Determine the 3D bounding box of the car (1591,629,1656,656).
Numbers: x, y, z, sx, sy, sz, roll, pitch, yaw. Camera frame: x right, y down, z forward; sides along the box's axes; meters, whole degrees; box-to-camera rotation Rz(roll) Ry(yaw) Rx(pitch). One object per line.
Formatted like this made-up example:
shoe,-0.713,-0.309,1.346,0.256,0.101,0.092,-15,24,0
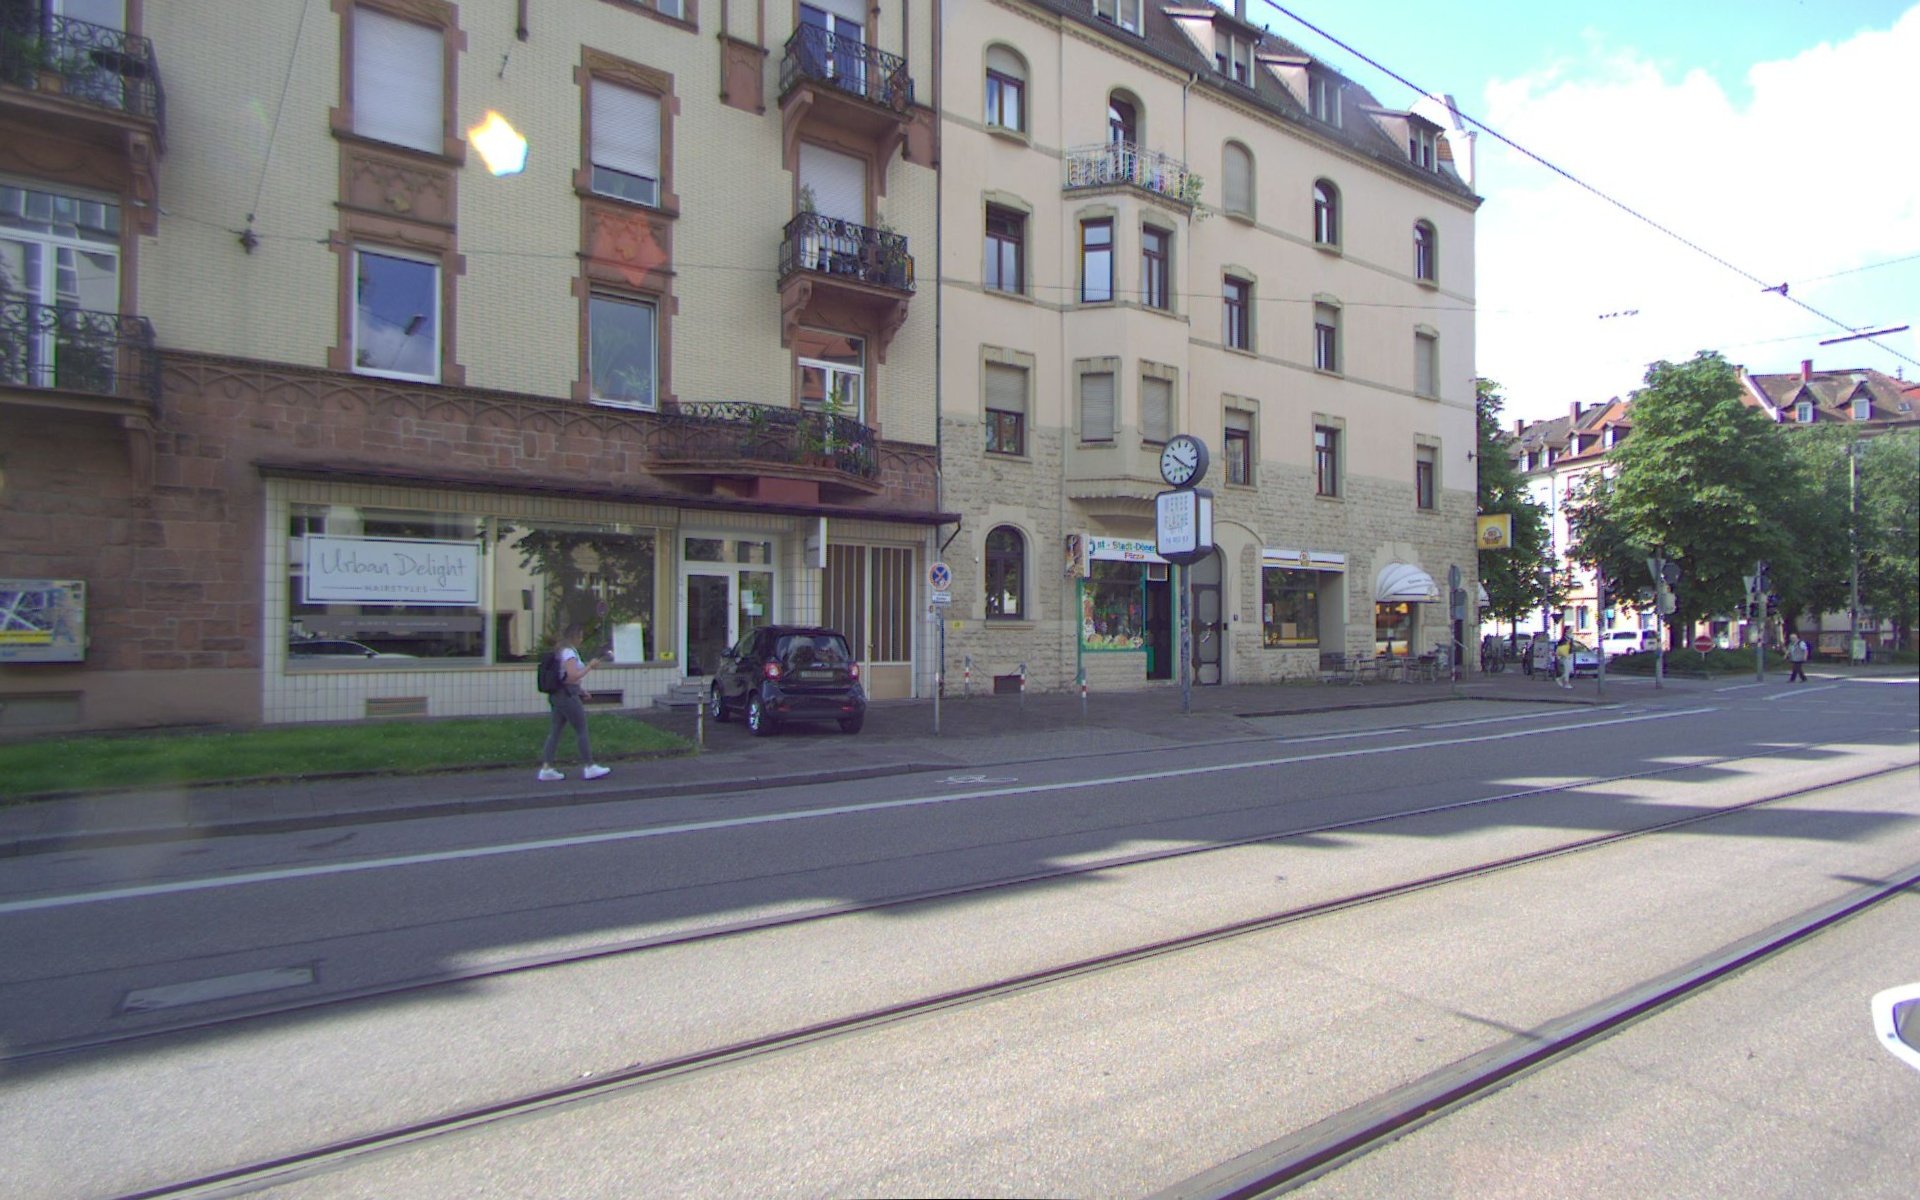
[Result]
car,49.065,3.122,74.402,1.962,1.929,3.997,0,-2,-5

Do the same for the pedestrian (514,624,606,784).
pedestrian,-4.135,1.034,10.373,0.757,1.561,0.752,1,-2,-32

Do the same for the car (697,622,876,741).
car,-2.748,1.151,15.441,1.716,1.505,3.162,1,1,-30

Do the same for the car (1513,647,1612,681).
car,23.360,2.449,39.118,1.645,1.198,4.002,0,-2,4

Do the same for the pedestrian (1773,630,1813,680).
pedestrian,28.850,1.892,34.801,0.709,1.728,0.819,1,-2,-25

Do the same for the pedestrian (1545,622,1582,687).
pedestrian,16.942,1.520,28.198,0.795,1.777,0.677,1,-2,-41
